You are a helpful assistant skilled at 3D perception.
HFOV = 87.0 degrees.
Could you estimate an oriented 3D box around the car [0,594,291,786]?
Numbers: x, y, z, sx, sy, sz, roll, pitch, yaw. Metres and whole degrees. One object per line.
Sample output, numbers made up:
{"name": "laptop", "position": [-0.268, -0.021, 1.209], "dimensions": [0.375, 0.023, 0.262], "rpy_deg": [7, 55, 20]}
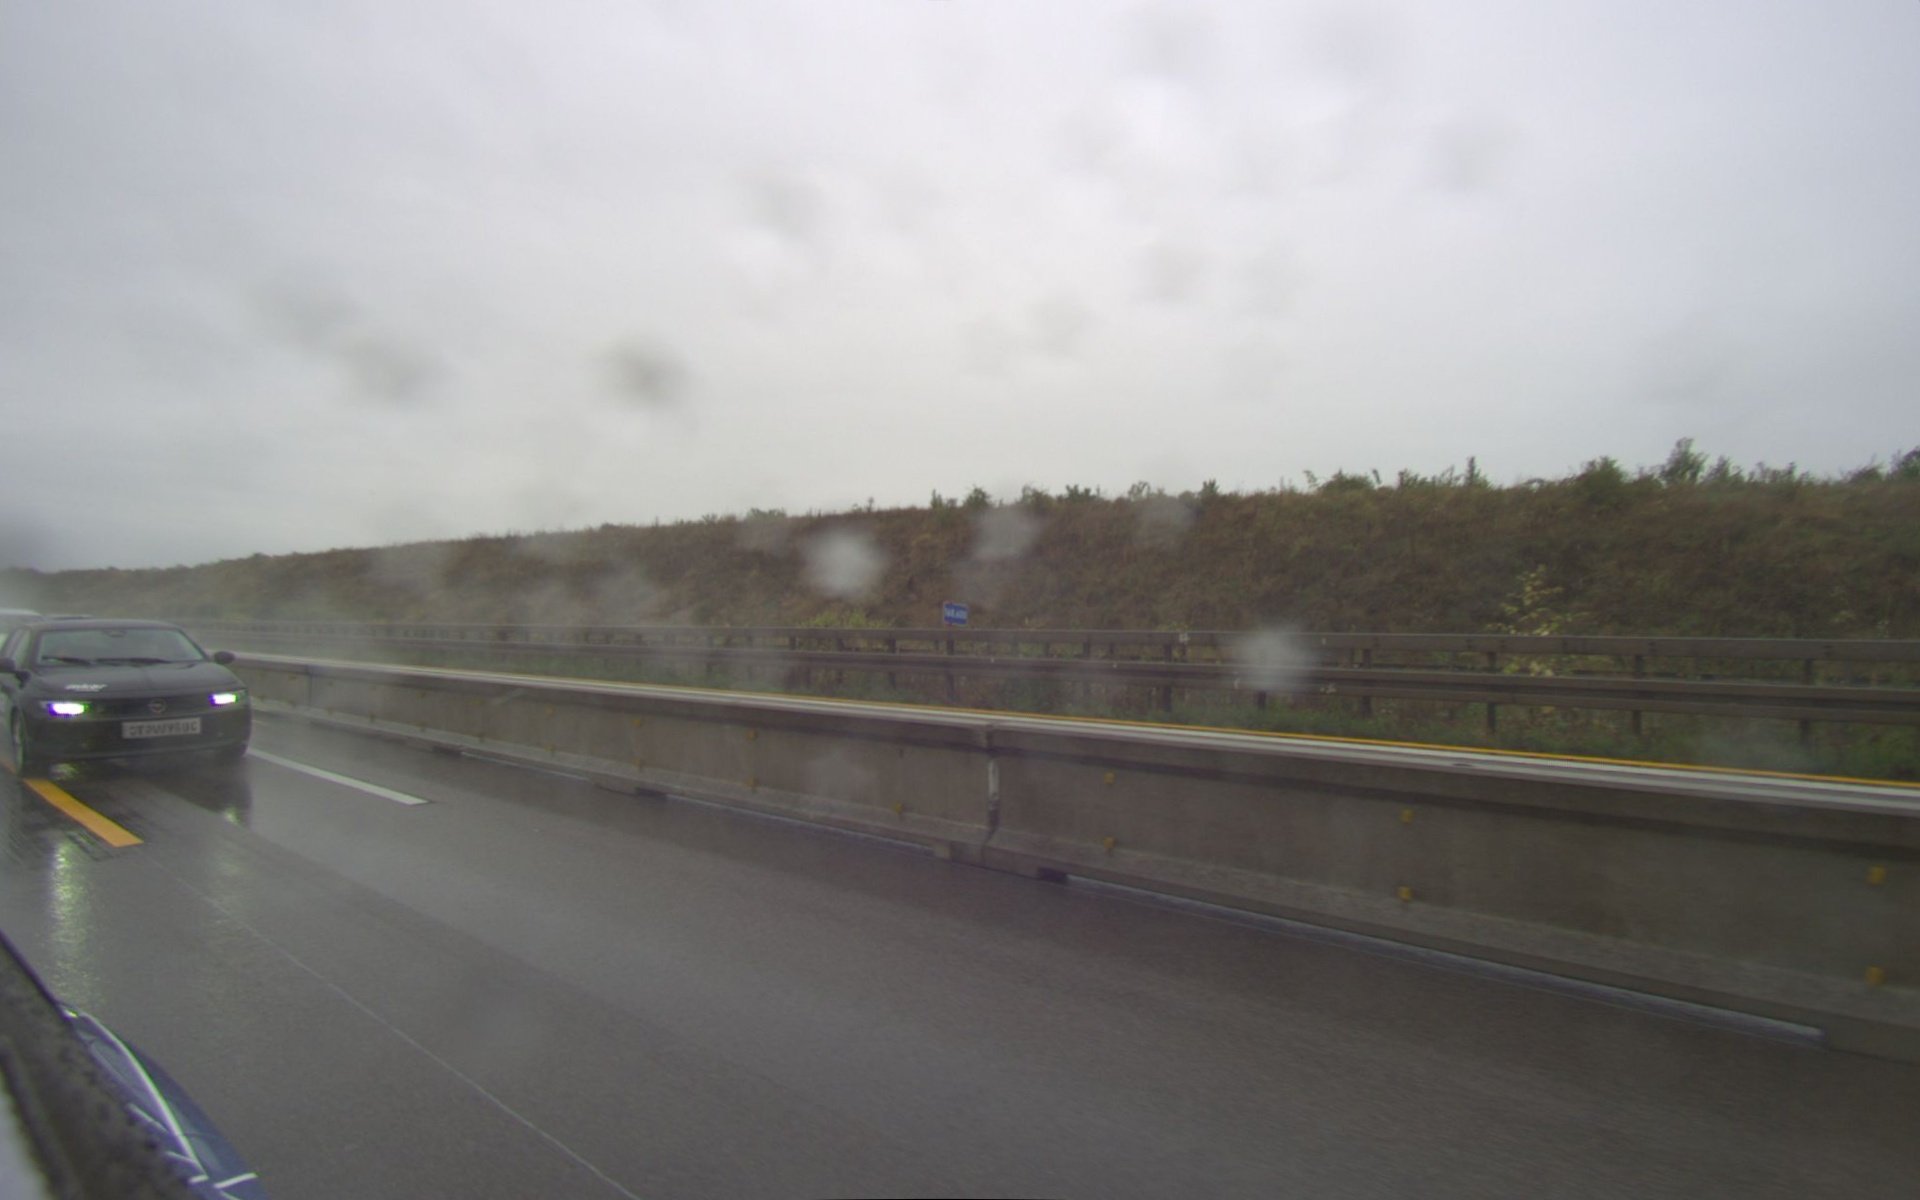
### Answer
{"name": "car", "position": [-8.800, 0.763, 10.448], "dimensions": [4.793, 1.539, 1.919], "rpy_deg": [-1, -2, 41]}

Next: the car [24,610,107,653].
{"name": "car", "position": [-34.173, 1.149, 38.597], "dimensions": [4.948, 1.539, 1.743], "rpy_deg": [0, 0, 41]}

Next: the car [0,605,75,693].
{"name": "car", "position": [-19.905, 0.953, 20.880], "dimensions": [3.998, 1.693, 1.946], "rpy_deg": [0, 0, 41]}
